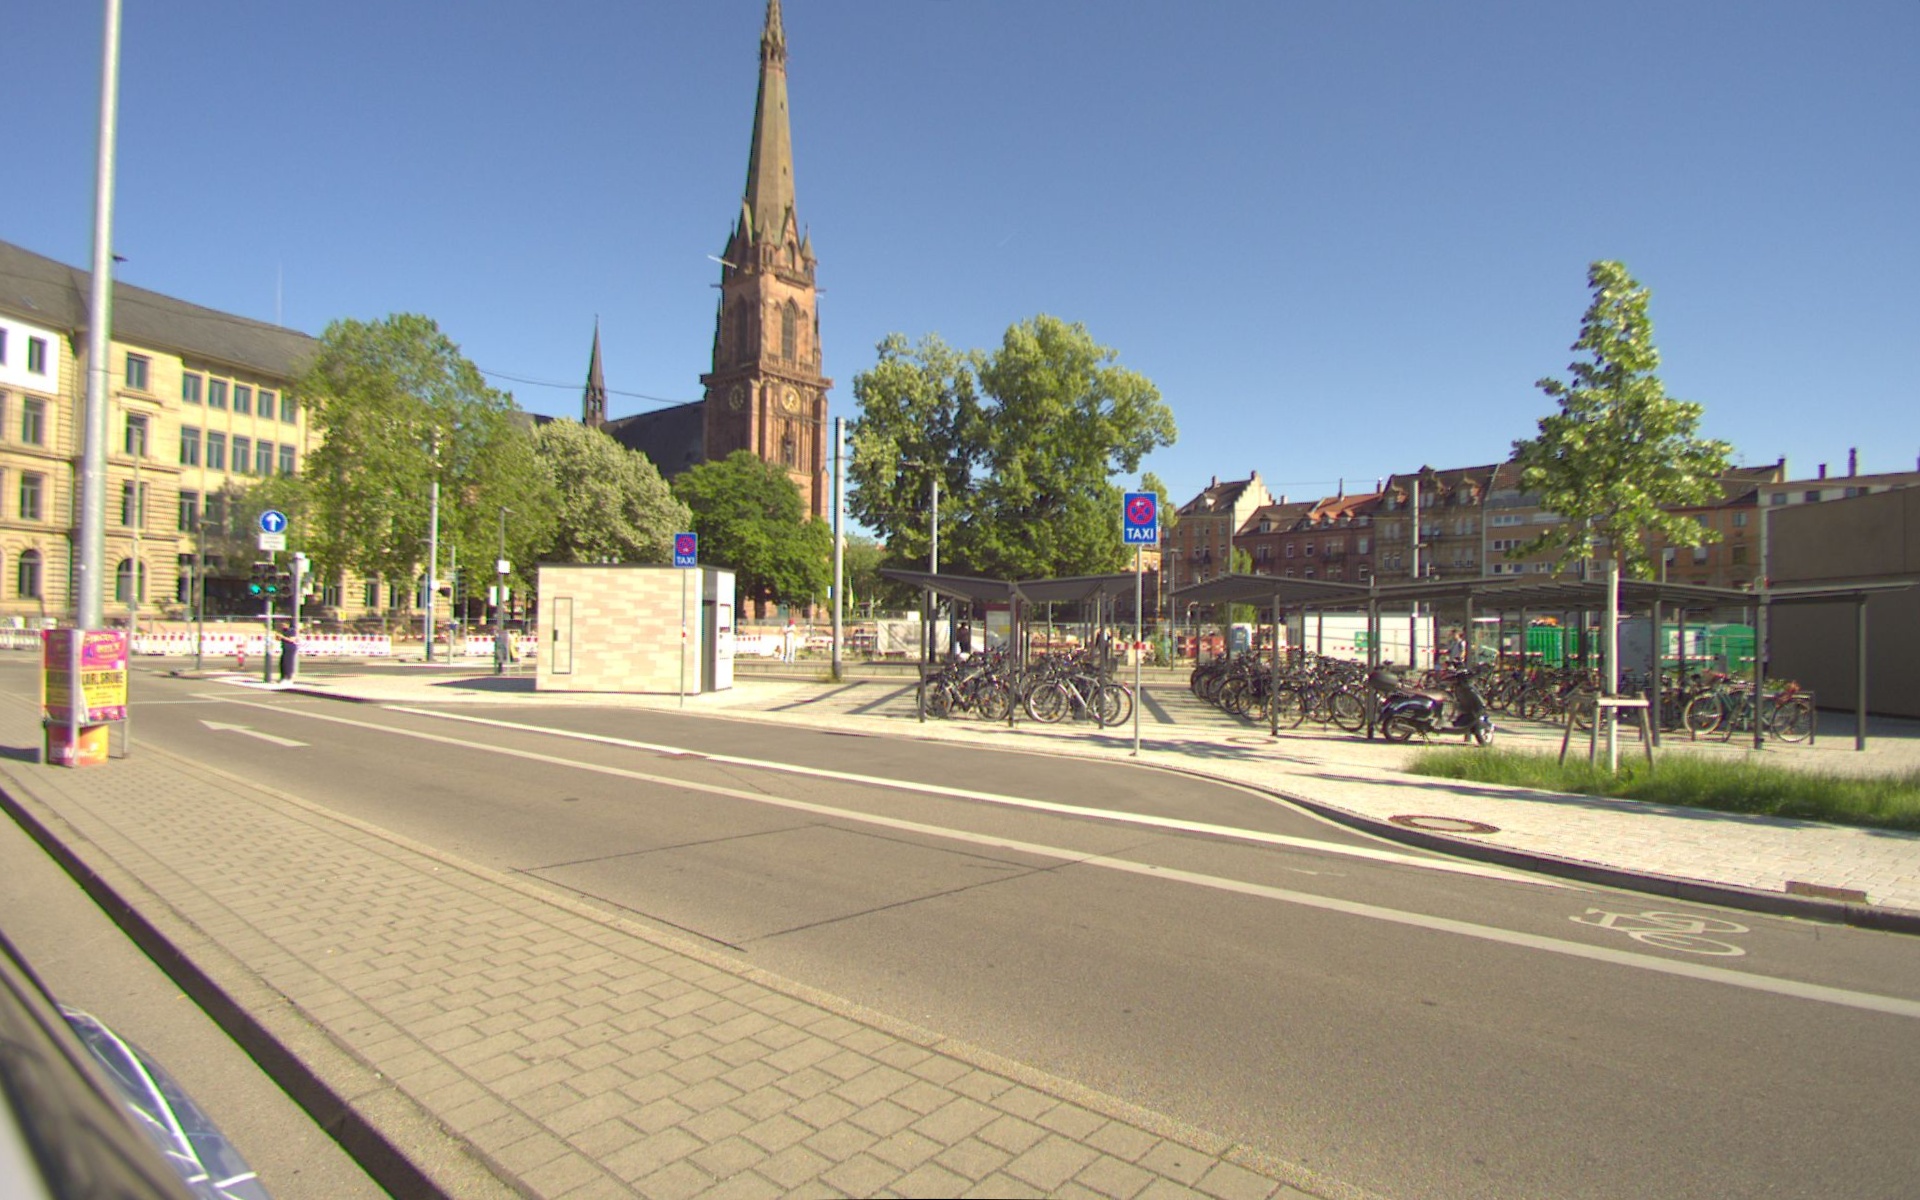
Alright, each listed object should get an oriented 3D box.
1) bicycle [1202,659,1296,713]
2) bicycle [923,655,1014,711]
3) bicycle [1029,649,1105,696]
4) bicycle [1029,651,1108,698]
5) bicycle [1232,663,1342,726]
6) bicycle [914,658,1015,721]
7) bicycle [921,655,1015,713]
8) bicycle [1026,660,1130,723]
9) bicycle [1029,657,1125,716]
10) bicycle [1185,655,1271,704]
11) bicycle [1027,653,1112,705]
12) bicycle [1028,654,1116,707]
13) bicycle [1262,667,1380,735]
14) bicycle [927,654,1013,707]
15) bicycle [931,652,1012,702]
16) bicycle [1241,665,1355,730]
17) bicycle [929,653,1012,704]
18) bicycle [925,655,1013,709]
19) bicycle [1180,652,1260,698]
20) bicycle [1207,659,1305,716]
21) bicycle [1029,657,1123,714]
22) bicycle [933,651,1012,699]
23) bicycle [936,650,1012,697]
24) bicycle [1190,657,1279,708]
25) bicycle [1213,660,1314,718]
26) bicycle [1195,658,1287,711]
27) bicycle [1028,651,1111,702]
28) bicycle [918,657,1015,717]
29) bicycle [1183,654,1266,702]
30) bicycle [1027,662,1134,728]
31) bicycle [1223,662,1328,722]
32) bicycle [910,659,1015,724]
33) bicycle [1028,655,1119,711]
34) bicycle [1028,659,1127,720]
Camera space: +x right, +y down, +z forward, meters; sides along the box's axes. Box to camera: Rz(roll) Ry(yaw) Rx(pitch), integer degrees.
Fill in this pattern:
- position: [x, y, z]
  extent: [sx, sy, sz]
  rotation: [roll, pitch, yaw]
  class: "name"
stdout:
- position: [5.900, 1.749, 20.706]
  extent: [1.765, 1.046, 0.567]
  rotation: [1, -3, 4]
  class: "bicycle"
- position: [0.182, 1.640, 20.159]
  extent: [1.765, 1.046, 0.567]
  rotation: [1, -3, 4]
  class: "bicycle"
- position: [2.538, 1.720, 24.180]
  extent: [1.765, 1.046, 0.567]
  rotation: [1, -3, 4]
  class: "bicycle"
- position: [2.513, 1.726, 23.553]
  extent: [1.765, 1.046, 0.567]
  rotation: [1, -3, 4]
  class: "bicycle"
- position: [5.840, 1.677, 18.130]
  extent: [1.765, 1.046, 0.567]
  rotation: [1, -3, 4]
  class: "bicycle"
- position: [0.091, 1.582, 18.086]
  extent: [1.765, 1.046, 0.567]
  rotation: [1, -3, 4]
  class: "bicycle"
- position: [0.164, 1.617, 19.528]
  extent: [1.765, 1.046, 0.567]
  rotation: [1, -3, 4]
  class: "bicycle"
- position: [2.072, 1.606, 17.924]
  extent: [1.765, 1.046, 0.567]
  rotation: [1, -3, 4]
  class: "bicycle"
- position: [2.204, 1.636, 19.173]
  extent: [1.765, 1.046, 0.567]
  rotation: [1, -3, 4]
  class: "bicycle"
- position: [6.019, 1.779, 22.770]
  extent: [1.765, 1.046, 0.567]
  rotation: [1, -3, 4]
  class: "bicycle"
- position: [2.332, 1.676, 21.628]
  extent: [1.765, 1.046, 0.567]
  rotation: [1, -3, 4]
  class: "bicycle"
- position: [2.303, 1.660, 20.989]
  extent: [1.765, 1.046, 0.567]
  rotation: [1, -3, 4]
  class: "bicycle"
- position: [6.024, 1.675, 16.947]
  extent: [1.765, 1.046, 0.567]
  rotation: [1, -3, 4]
  class: "bicycle"
- position: [0.216, 1.686, 21.391]
  extent: [1.765, 1.046, 0.567]
  rotation: [1, -3, 4]
  class: "bicycle"
- position: [0.260, 1.710, 22.652]
  extent: [1.765, 1.046, 0.567]
  rotation: [1, -3, 4]
  class: "bicycle"
- position: [5.840, 1.677, 17.545]
  extent: [1.765, 1.046, 0.567]
  rotation: [1, -3, 4]
  class: "bicycle"
- position: [0.237, 1.700, 22.057]
  extent: [1.765, 1.046, 0.567]
  rotation: [1, -3, 4]
  class: "bicycle"
- position: [0.188, 1.672, 20.775]
  extent: [1.765, 1.046, 0.567]
  rotation: [1, -3, 4]
  class: "bicycle"
- position: [6.228, 1.794, 24.259]
  extent: [1.765, 1.046, 0.567]
  rotation: [1, -3, 4]
  class: "bicycle"
- position: [5.861, 1.731, 20.091]
  extent: [1.765, 1.046, 0.567]
  rotation: [1, -3, 4]
  class: "bicycle"
- position: [2.253, 1.655, 19.773]
  extent: [1.765, 1.046, 0.567]
  rotation: [1, -3, 4]
  class: "bicycle"
- position: [0.292, 1.721, 23.254]
  extent: [1.765, 1.046, 0.567]
  rotation: [1, -3, 4]
  class: "bicycle"
- position: [0.338, 1.731, 23.846]
  extent: [1.765, 1.046, 0.567]
  rotation: [1, -3, 4]
  class: "bicycle"
- position: [5.925, 1.773, 21.899]
  extent: [1.765, 1.046, 0.567]
  rotation: [1, -3, 4]
  class: "bicycle"
- position: [5.809, 1.693, 19.420]
  extent: [1.765, 1.046, 0.567]
  rotation: [1, -3, 4]
  class: "bicycle"
- position: [5.906, 1.770, 21.304]
  extent: [1.765, 1.046, 0.567]
  rotation: [1, -3, 4]
  class: "bicycle"
- position: [2.395, 1.675, 22.227]
  extent: [1.765, 1.046, 0.567]
  rotation: [1, -3, 4]
  class: "bicycle"
- position: [0.126, 1.604, 18.840]
  extent: [1.765, 1.046, 0.567]
  rotation: [1, -3, 4]
  class: "bicycle"
- position: [6.129, 1.796, 23.493]
  extent: [1.765, 1.046, 0.567]
  rotation: [1, -3, 4]
  class: "bicycle"
- position: [2.043, 1.602, 17.274]
  extent: [1.765, 1.046, 0.567]
  rotation: [1, -3, 4]
  class: "bicycle"
- position: [5.843, 1.695, 18.789]
  extent: [1.765, 1.046, 0.567]
  rotation: [1, -3, 4]
  class: "bicycle"
- position: [0.054, 1.567, 17.435]
  extent: [1.765, 1.046, 0.567]
  rotation: [1, -3, 4]
  class: "bicycle"
- position: [2.272, 1.664, 20.387]
  extent: [1.765, 1.046, 0.567]
  rotation: [1, -3, 4]
  class: "bicycle"
- position: [2.140, 1.623, 18.564]
  extent: [1.765, 1.046, 0.567]
  rotation: [1, -3, 4]
  class: "bicycle"
